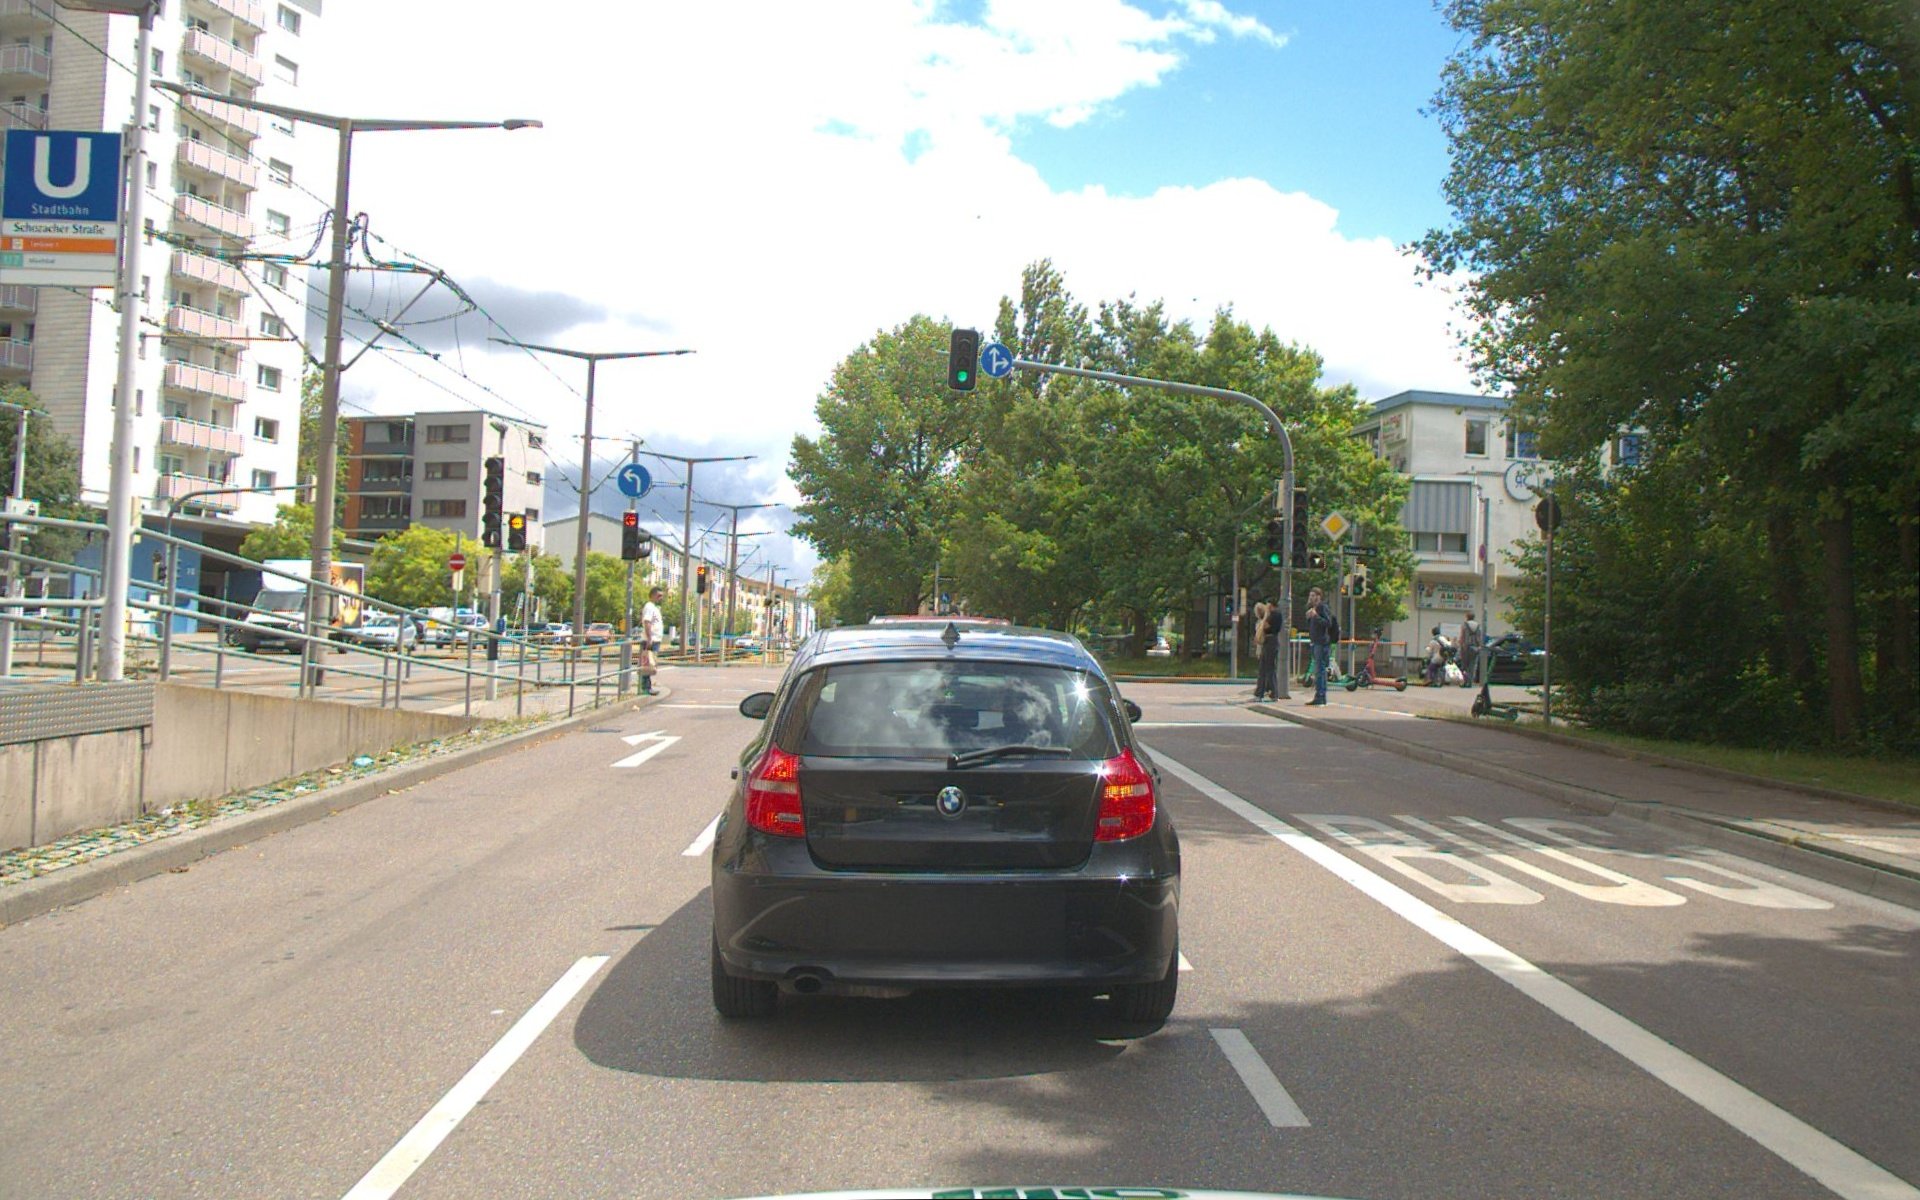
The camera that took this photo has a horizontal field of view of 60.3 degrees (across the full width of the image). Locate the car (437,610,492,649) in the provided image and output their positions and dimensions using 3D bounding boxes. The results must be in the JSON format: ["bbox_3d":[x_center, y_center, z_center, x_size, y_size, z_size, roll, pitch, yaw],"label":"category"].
[{"bbox_3d":[-23.682,1.391,79.131,1.559,1.787,3.773,2,-1,-2],"label":"car"}]

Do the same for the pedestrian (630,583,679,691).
[{"bbox_3d":[-5.069,0.603,27.457,0.673,1.764,0.687,1,-1,-1],"label":"pedestrian"}]

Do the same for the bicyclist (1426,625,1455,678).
[{"bbox_3d":[10.884,1.164,37.445,0.494,1.177,0.397,1,-1,-20],"label":"bicyclist"}]

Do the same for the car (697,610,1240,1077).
[{"bbox_3d":[0.007,0.770,6.859,1.665,1.424,3.419,1,0,-1],"label":"car"}]

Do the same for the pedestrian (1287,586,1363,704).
[{"bbox_3d":[6.047,0.741,27.439,0.991,1.909,0.797,1,-1,-7],"label":"pedestrian"}]

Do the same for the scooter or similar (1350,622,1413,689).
[{"bbox_3d":[8.632,1.130,33.890,1.127,1.294,0.555,2,-1,1],"label":"scooter or similar"}]

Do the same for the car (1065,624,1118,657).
[{"bbox_3d":[7.189,2.195,90.695,1.830,1.691,3.988,2,-1,-12],"label":"car"}]

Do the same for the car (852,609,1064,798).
[{"bbox_3d":[-0.037,0.807,14.450,1.605,1.424,3.419,1,0,-1],"label":"car"}]

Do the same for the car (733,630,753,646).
[{"bbox_3d":[-22.339,3.862,170.228,1.618,1.561,3.870,1,-1,-1],"label":"car"}]

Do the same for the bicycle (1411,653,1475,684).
[{"bbox_3d":[10.898,1.543,37.370,0.525,0.620,1.581,3,-1,-20],"label":"bicycle"}]

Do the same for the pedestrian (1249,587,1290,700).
[{"bbox_3d":[5.336,0.744,28.515,0.622,1.909,0.518,1,-1,5],"label":"pedestrian"}]

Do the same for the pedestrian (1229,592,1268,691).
[{"bbox_3d":[5.289,0.752,30.332,0.622,1.797,0.518,1,-1,5],"label":"pedestrian"}]

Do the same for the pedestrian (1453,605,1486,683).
[{"bbox_3d":[11.616,0.997,37.718,0.644,1.743,0.461,1,-1,25],"label":"pedestrian"}]

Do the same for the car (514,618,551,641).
[{"bbox_3d":[-28.774,1.975,111.361,1.559,1.500,3.773,2,-1,-2],"label":"car"}]

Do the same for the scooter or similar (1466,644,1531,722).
[{"bbox_3d":[9.325,1.431,28.644,0.872,1.251,0.454,6,-1,-1],"label":"scooter or similar"}]

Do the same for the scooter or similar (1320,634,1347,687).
[{"bbox_3d":[7.875,1.261,34.897,0.536,1.082,1.263,1,0,13],"label":"scooter or similar"}]

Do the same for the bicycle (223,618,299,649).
[{"bbox_3d":[-26.147,1.262,61.879,2.528,1.026,0.748,3,-3,-29],"label":"bicycle"}]

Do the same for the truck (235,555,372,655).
[{"bbox_3d":[-22.528,0.190,57.150,2.237,3.172,7.311,2,-1,-5],"label":"truck"}]

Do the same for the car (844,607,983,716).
[{"bbox_3d":[-0.658,0.849,24.713,1.862,1.447,4.538,1,0,-1],"label":"car"}]

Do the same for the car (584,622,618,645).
[{"bbox_3d":[-25.343,2.369,116.864,1.618,1.561,3.869,1,-1,-2],"label":"car"}]

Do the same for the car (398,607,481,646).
[{"bbox_3d":[-27.886,1.427,88.703,3.893,2.009,1.630,2,-1,-43],"label":"car"}]

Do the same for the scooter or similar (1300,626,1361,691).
[{"bbox_3d":[7.370,1.151,32.914,1.087,1.257,0.539,1,-1,1],"label":"scooter or similar"}]

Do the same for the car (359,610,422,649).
[{"bbox_3d":[-23.296,1.199,67.785,1.379,1.486,3.772,2,-1,-3],"label":"car"}]

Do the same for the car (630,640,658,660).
[{"bbox_3d":[-26.049,4.125,136.469,1.618,1.561,3.869,1,-1,-2],"label":"car"}]

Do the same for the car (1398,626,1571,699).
[{"bbox_3d":[15.386,1.798,48.656,4.450,2.049,1.996,0,0,-8],"label":"car"}]

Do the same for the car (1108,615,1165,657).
[{"bbox_3d":[8.467,1.712,79.782,1.694,1.904,3.991,2,-1,-9],"label":"car"}]
